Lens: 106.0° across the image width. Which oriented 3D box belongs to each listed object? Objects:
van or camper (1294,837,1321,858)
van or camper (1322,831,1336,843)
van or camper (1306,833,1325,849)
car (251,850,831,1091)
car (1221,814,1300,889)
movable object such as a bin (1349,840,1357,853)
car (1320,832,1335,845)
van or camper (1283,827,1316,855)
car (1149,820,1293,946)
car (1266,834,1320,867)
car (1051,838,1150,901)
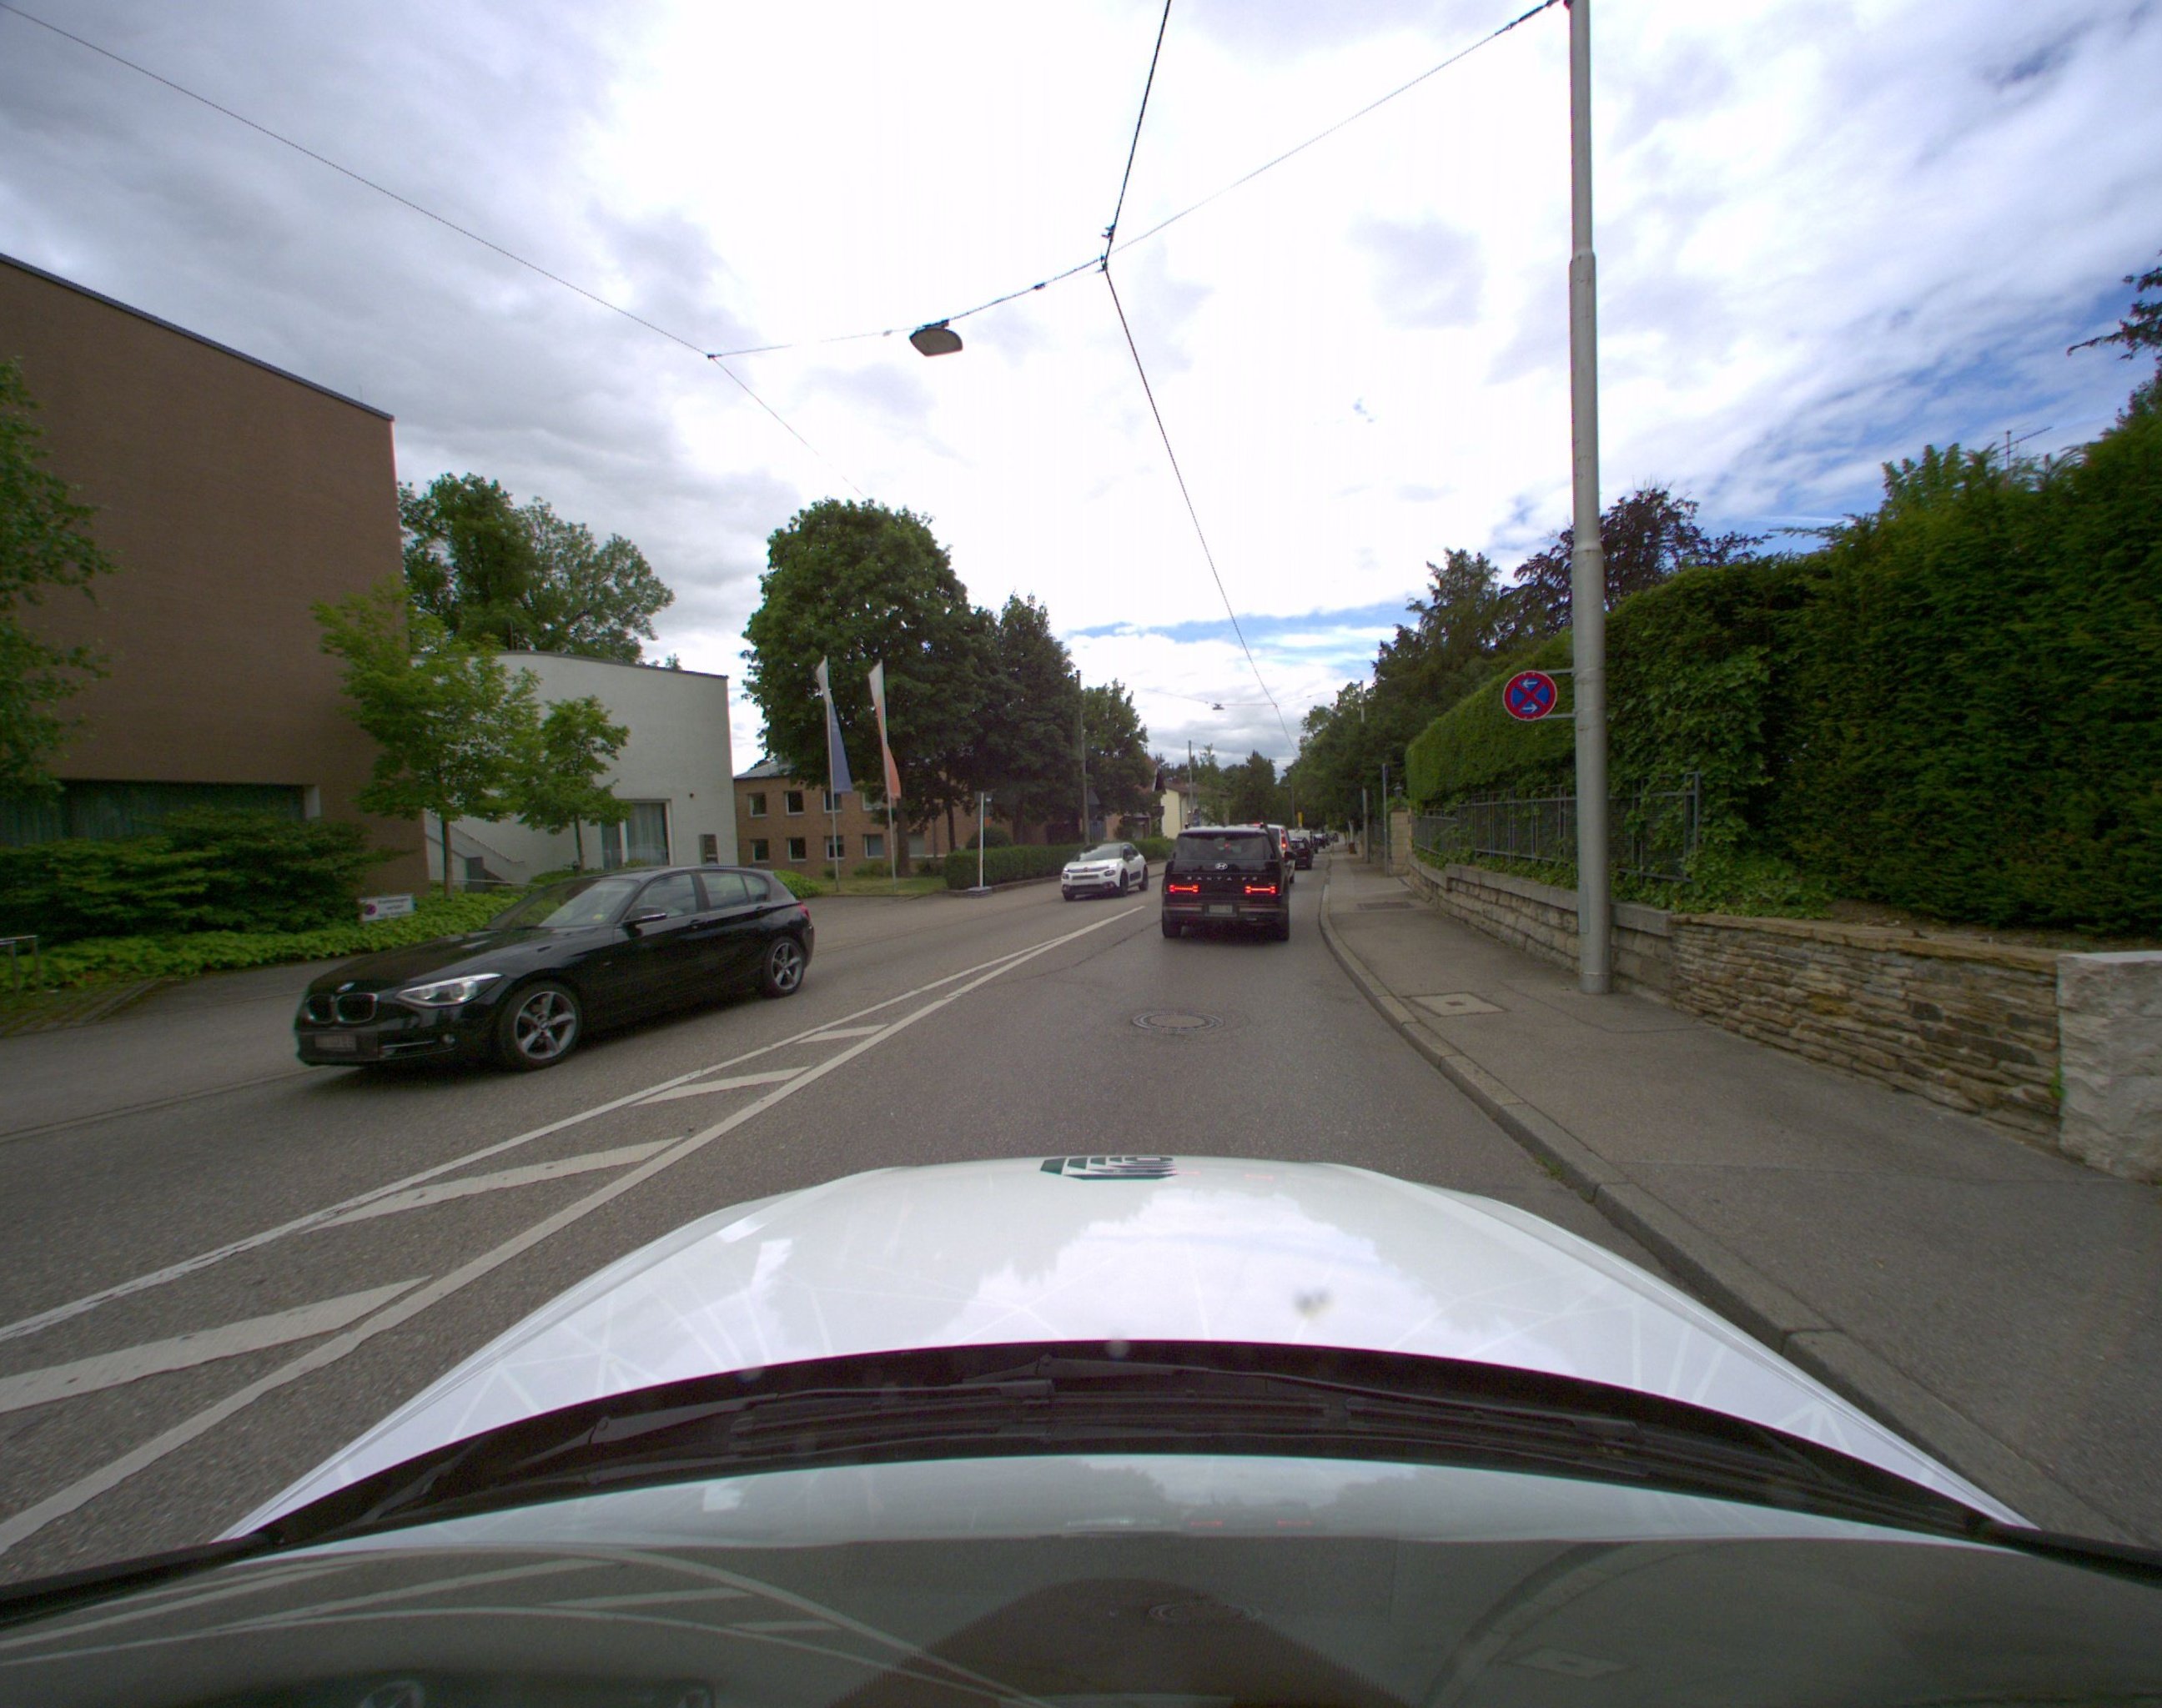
[{"bbox_3d":[20.051,-0.593,72.240,1.980,1.628,4.015,-4,1,13],"label":"van or camper"},{"bbox_3d":[38.244,-2.675,125.503,1.977,1.651,4.019,-3,0,18],"label":"van or camper"},{"bbox_3d":[27.387,-1.520,95.037,1.977,1.651,4.019,-3,0,18],"label":"van or camper"},{"bbox_3d":[-4.250,0.786,7.295,1.748,1.408,4.020,-4,0,18],"label":"car"},{"bbox_3d":[5.556,-0.155,24.837,1.942,1.955,4.243,-3,2,17],"label":"car"},{"bbox_3d":[20.494,-0.587,61.331,0.441,0.909,0.397,-8,2,27],"label":"movable object such as a bin"},{"bbox_3d":[33.361,-2.137,110.293,1.631,1.561,3.668,-2,-2,20],"label":"car"},{"bbox_3d":[15.820,-0.975,58.917,1.977,1.887,4.019,-4,1,18],"label":"van or camper"},{"bbox_3d":[2.445,0.316,13.329,1.943,1.712,4.241,1,2,15],"label":"car"},{"bbox_3d":[9.984,-0.206,38.163,1.977,1.404,4.021,-3,0,20],"label":"car"},{"bbox_3d":[0.642,0.372,22.800,1.682,1.439,3.774,-5,0,17],"label":"car"}]
